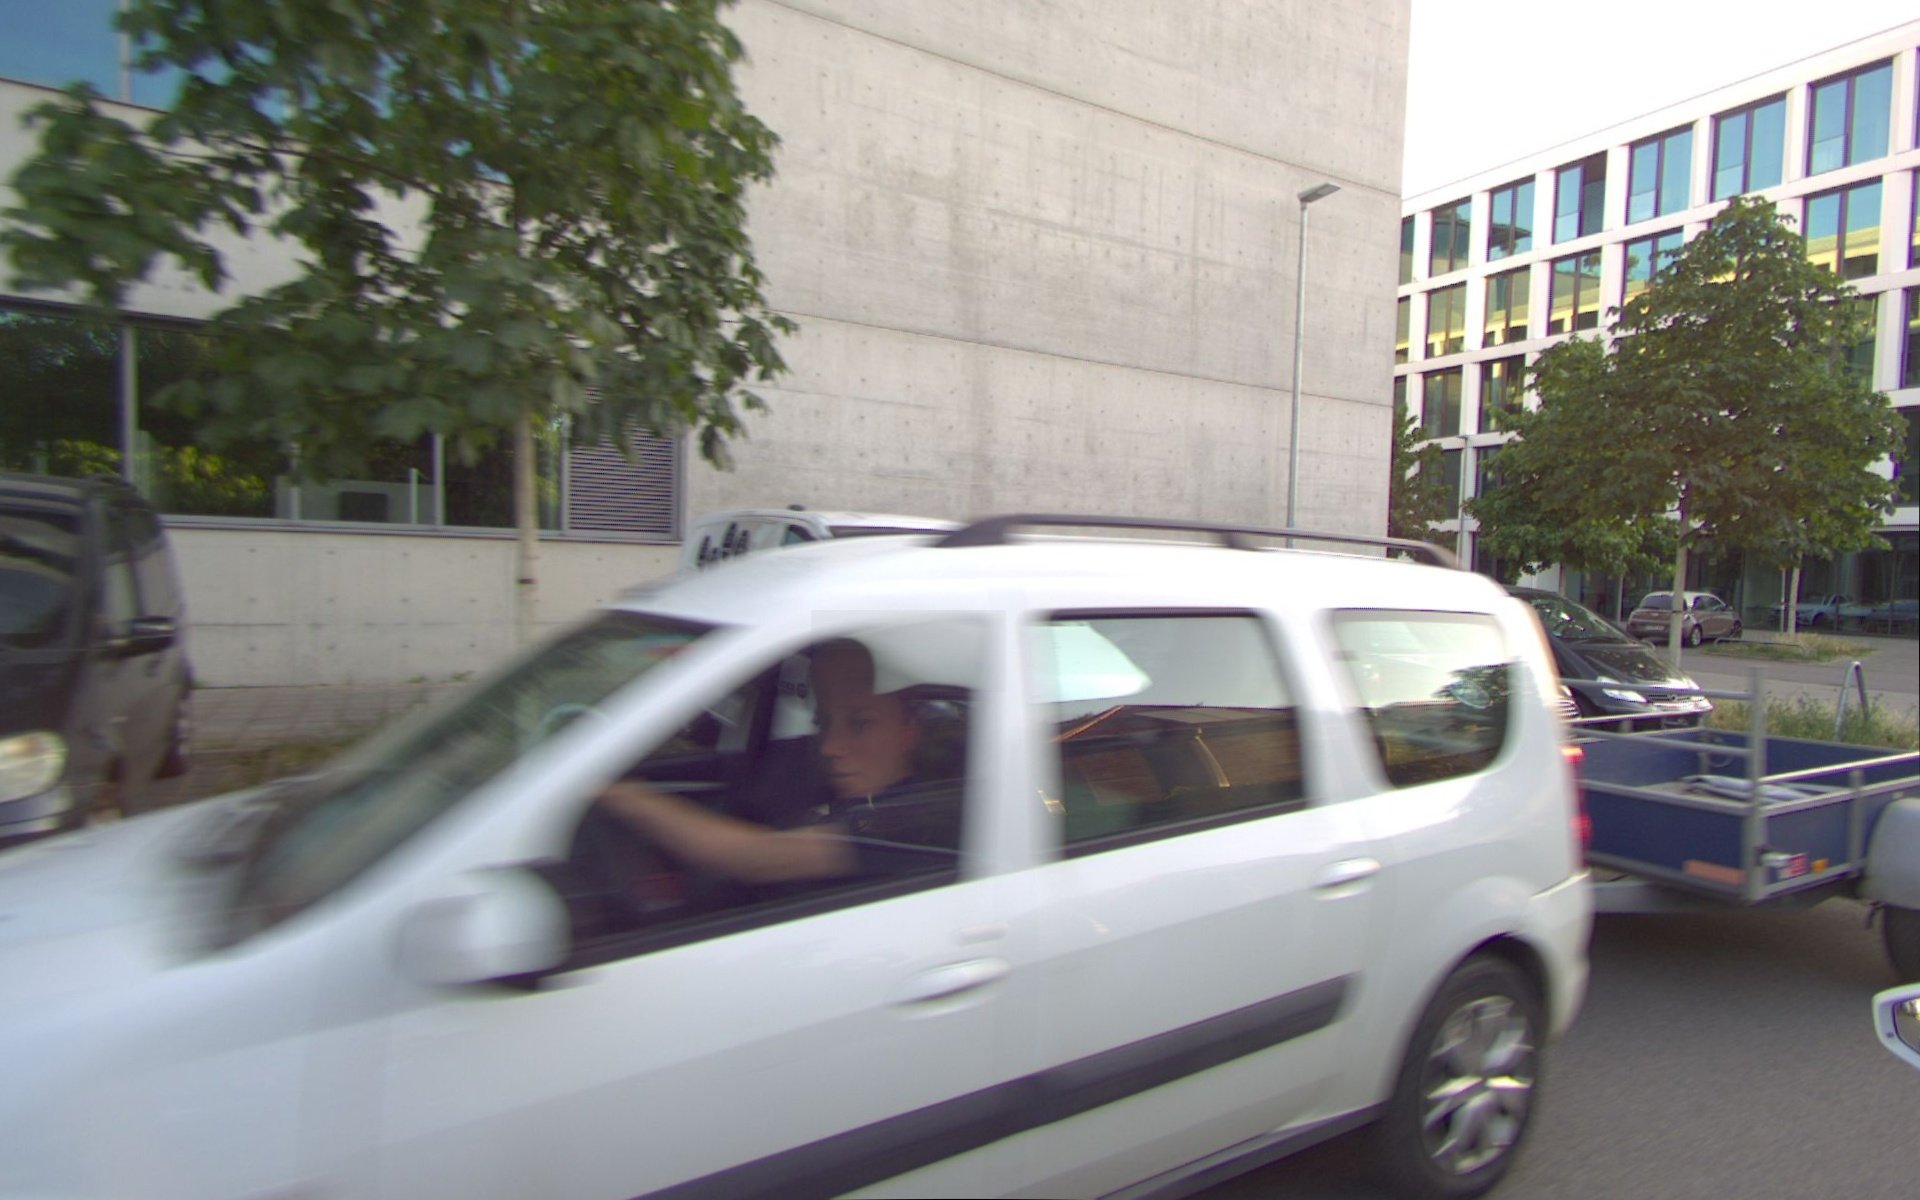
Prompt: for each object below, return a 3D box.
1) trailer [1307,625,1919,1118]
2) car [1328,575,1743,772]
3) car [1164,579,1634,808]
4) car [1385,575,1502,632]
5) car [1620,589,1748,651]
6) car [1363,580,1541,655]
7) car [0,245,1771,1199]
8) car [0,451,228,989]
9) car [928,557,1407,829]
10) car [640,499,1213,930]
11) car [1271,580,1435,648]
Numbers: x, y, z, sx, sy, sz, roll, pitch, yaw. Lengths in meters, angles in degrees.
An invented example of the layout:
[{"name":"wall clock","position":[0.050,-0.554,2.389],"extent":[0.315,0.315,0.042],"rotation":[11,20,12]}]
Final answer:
[{"name":"trailer","position":[3.467,0.850,4.569],"extent":[3.445,1.367,1.698],"rotation":[1,2,-30]},{"name":"car","position":[6.066,0.640,11.071],"extent":[1.638,1.598,3.623],"rotation":[1,4,-25]},{"name":"car","position":[3.895,0.683,9.626],"extent":[1.631,1.509,3.868],"rotation":[1,4,-29]},{"name":"car","position":[16.698,0.083,34.653],"extent":[4.010,1.740,1.713],"rotation":[-2,3,-31]},{"name":"car","position":[20.781,0.526,28.828],"extent":[3.509,1.506,1.713],"rotation":[-2,3,-31]},{"name":"car","position":[11.197,0.405,22.808],"extent":[3.889,1.506,1.771],"rotation":[2,1,-31]},{"name":"car","position":[-0.202,0.565,2.468],"extent":[4.669,1.708,1.942],"rotation":[2,0,-32]},{"name":"car","position":[-4.735,0.222,4.730],"extent":[1.705,1.766,4.223],"rotation":[1,4,-31]},{"name":"car","position":[1.425,0.533,8.405],"extent":[1.588,1.543,3.965],"rotation":[1,4,-31]},{"name":"car","position":[-0.740,0.348,7.219],"extent":[1.867,1.973,5.049],"rotation":[1,4,-30]},{"name":"car","position":[9.810,0.349,25.047],"extent":[3.889,1.506,1.771],"rotation":[2,1,-31]}]
